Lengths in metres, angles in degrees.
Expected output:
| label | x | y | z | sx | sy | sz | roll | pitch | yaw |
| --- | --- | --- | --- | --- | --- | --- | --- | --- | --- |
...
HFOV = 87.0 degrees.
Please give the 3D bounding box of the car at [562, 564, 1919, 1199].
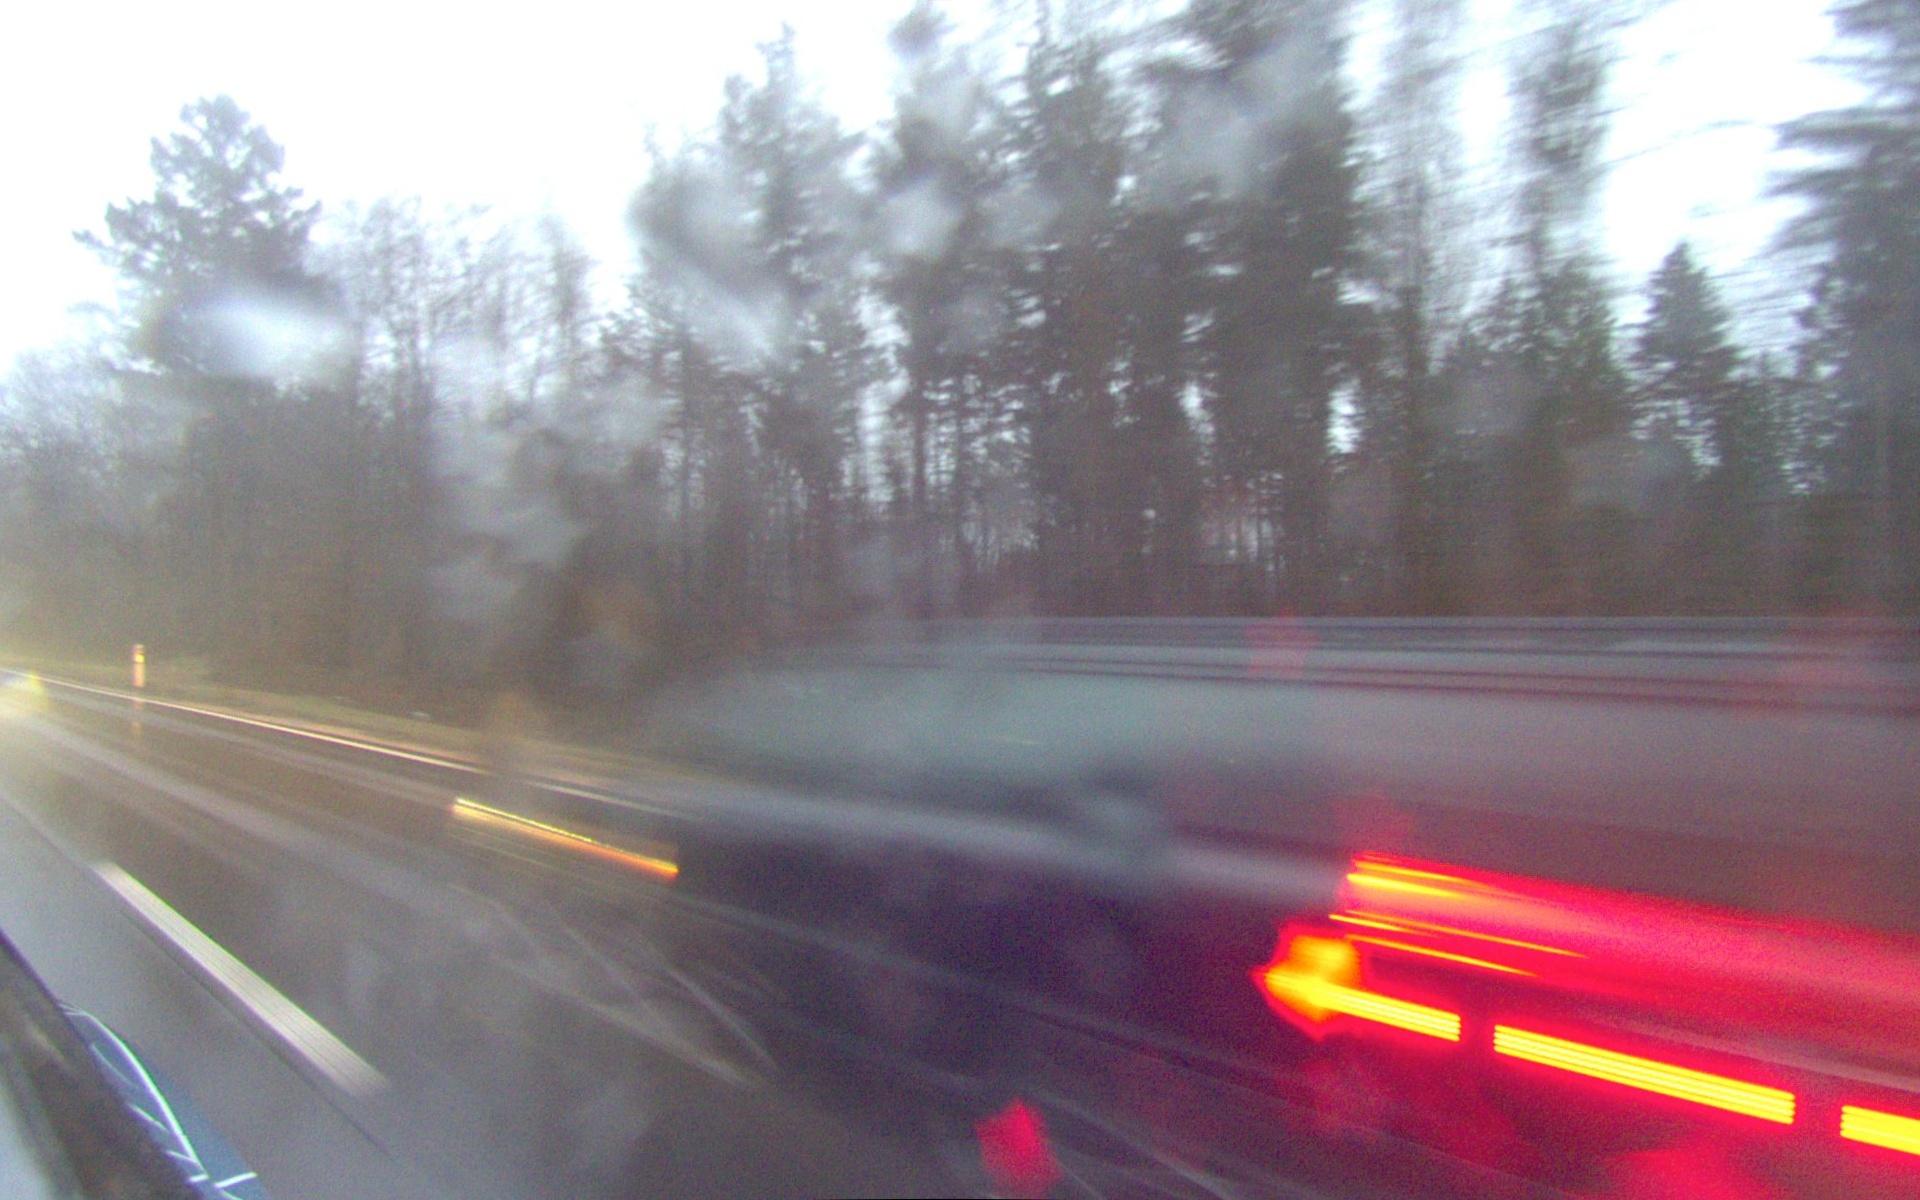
| label | x | y | z | sx | sy | sz | roll | pitch | yaw |
| --- | --- | --- | --- | --- | --- | --- | --- | --- | --- |
| car | 0.720 | 0.743 | 2.946 | 4.175 | 1.472 | 1.780 | -1 | -3 | 42 |
